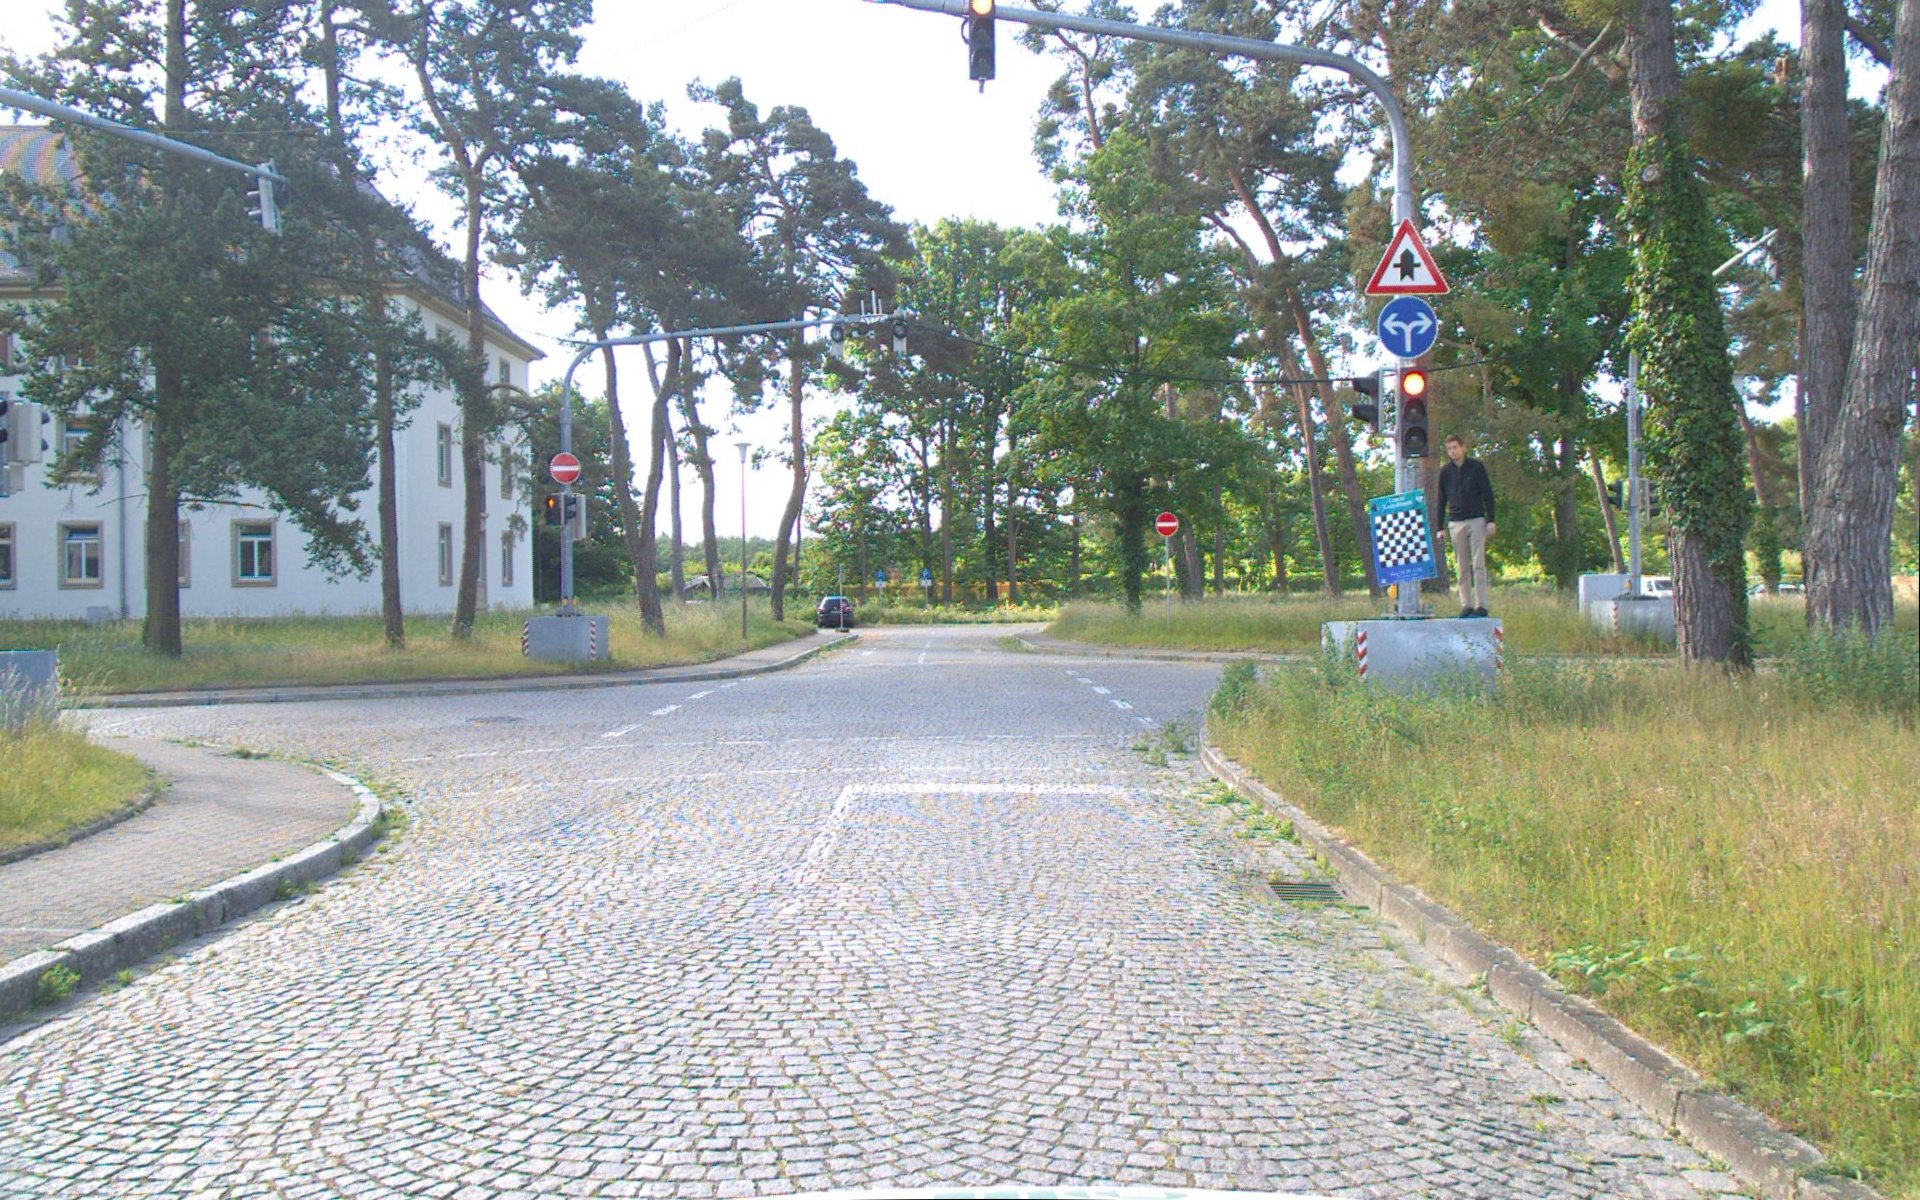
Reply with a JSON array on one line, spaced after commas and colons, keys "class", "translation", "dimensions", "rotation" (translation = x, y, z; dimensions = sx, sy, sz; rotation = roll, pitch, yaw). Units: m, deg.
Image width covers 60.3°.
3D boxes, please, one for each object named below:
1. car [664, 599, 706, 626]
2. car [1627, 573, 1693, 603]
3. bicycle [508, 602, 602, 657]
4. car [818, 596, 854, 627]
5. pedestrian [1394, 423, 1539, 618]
[{"class": "car", "translation": [-14.038, 0.636, 84.625], "dimensions": [1.675, 1.296, 3.917], "rotation": [-1, 0, -3]}, {"class": "car", "translation": [38.217, -0.654, 90.392], "dimensions": [1.790, 1.609, 4.162], "rotation": [-1, 0, -1]}, {"class": "bicycle", "translation": [-8.448, 0.602, 34.559], "dimensions": [0.623, 1.084, 1.942], "rotation": [-1, 0, 38]}, {"class": "car", "translation": [-6.257, 0.556, 83.979], "dimensions": [1.675, 1.522, 3.917], "rotation": [-1, 0, -3]}, {"class": "pedestrian", "translation": [5.037, -0.758, 16.419], "dimensions": [1.146, 1.827, 1.061], "rotation": [-2, 0, 29]}]
